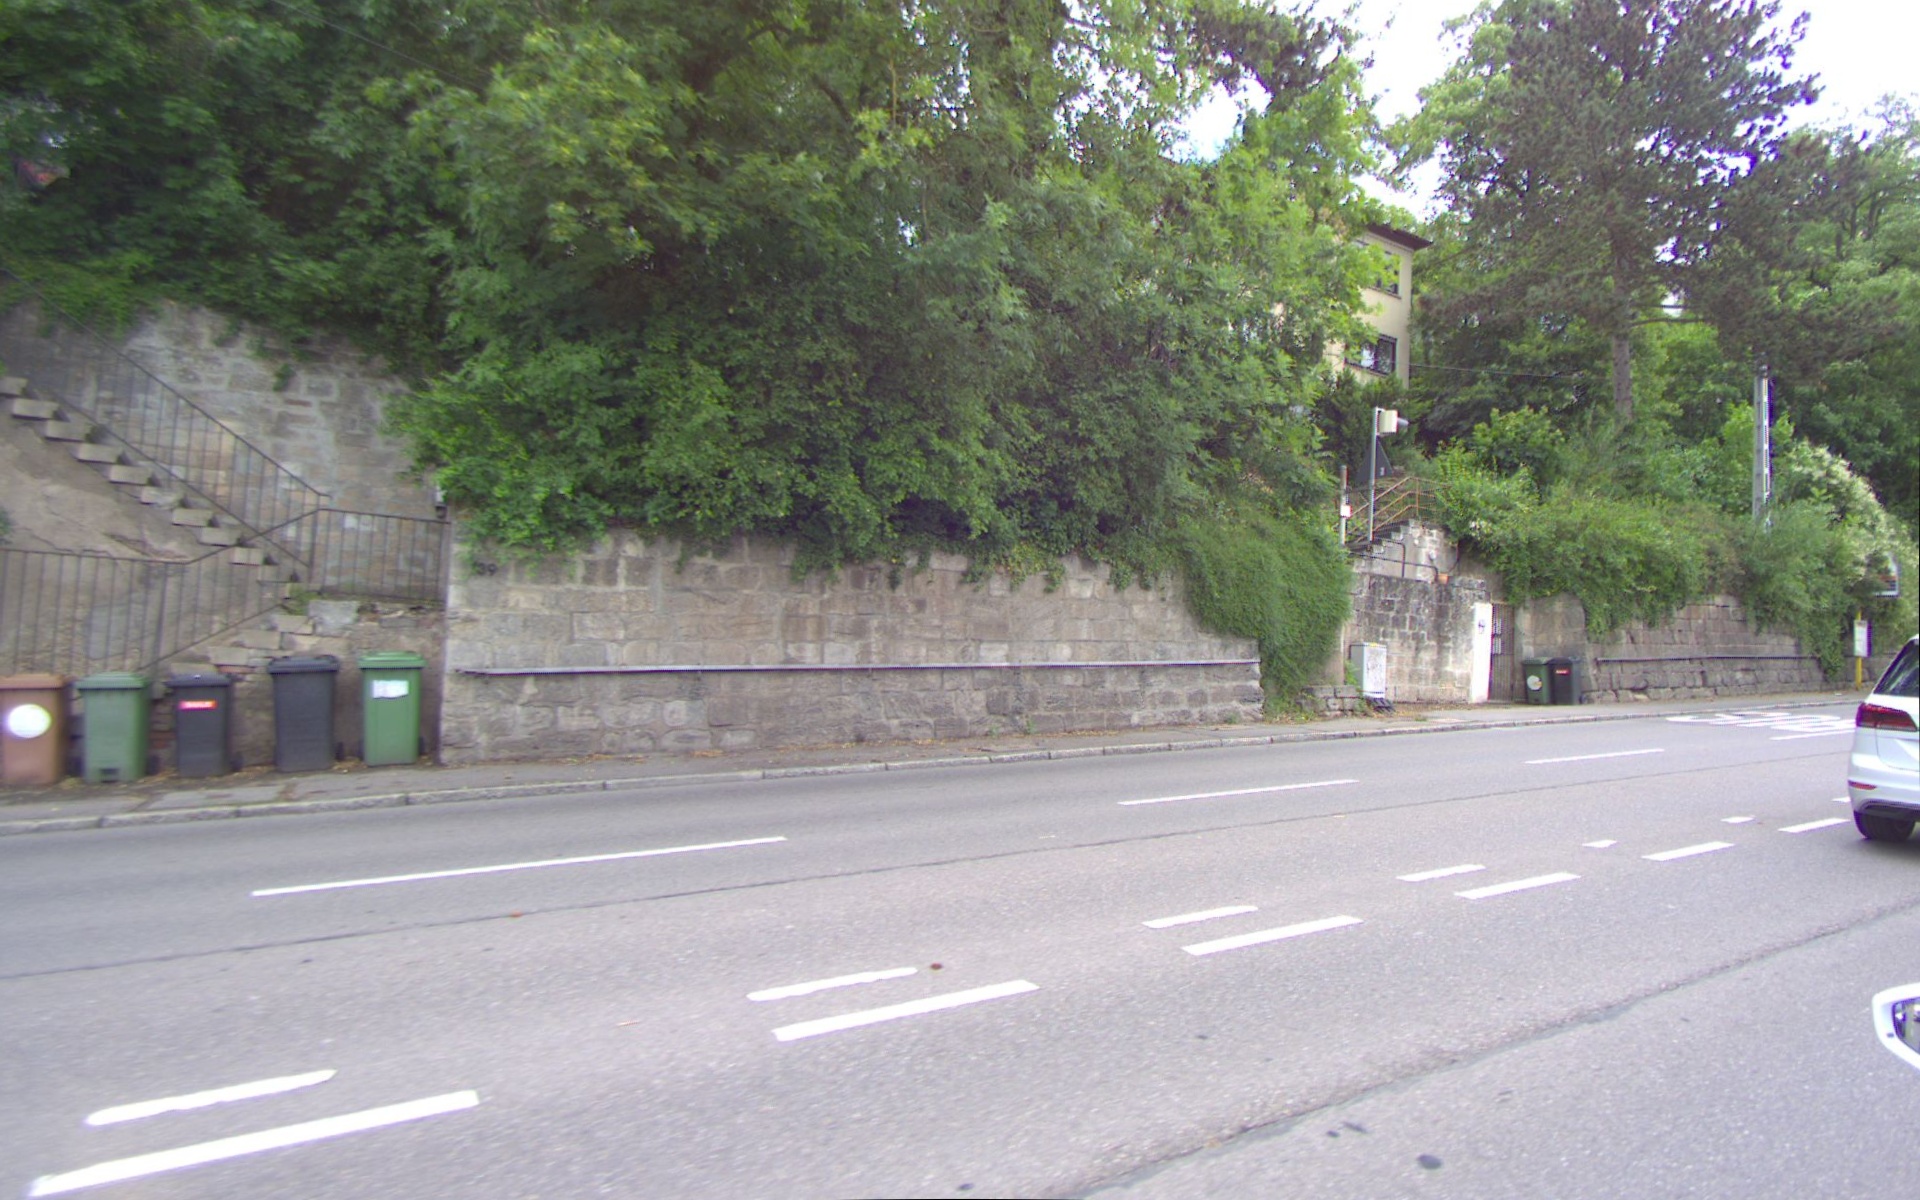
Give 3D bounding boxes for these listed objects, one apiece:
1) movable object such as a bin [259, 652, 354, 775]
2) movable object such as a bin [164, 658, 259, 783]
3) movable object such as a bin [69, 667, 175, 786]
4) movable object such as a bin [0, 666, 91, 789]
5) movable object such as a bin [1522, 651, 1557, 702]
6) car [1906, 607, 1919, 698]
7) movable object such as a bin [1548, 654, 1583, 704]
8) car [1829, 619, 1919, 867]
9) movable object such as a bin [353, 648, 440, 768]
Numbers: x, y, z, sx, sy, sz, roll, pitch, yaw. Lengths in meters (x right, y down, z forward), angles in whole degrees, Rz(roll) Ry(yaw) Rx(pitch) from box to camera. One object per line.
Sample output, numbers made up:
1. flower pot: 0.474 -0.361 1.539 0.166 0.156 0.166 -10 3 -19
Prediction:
1. movable object such as a bin: -6.170 1.040 9.505 0.710 1.075 0.767 1 -2 -33
2. movable object such as a bin: -6.848 1.068 9.222 0.614 1.048 0.893 1 -2 -33
3. movable object such as a bin: -7.413 1.089 8.921 0.587 0.958 0.911 1 -2 -32
4. movable object such as a bin: -7.917 1.073 8.652 0.537 0.978 0.670 1 -2 -33
5. movable object such as a bin: 11.578 1.526 20.079 0.364 0.984 0.474 2 0 -34
6. car: 24.033 1.216 23.060 5.292 2.031 1.913 1 -2 -30
7. movable object such as a bin: 11.845 1.540 19.651 0.362 0.948 0.476 2 0 -34
8. car: 8.130 0.951 7.152 4.226 1.575 1.712 1 -1 -31
9. movable object such as a bin: -5.528 1.024 9.851 0.701 1.085 0.783 0 -1 -33
